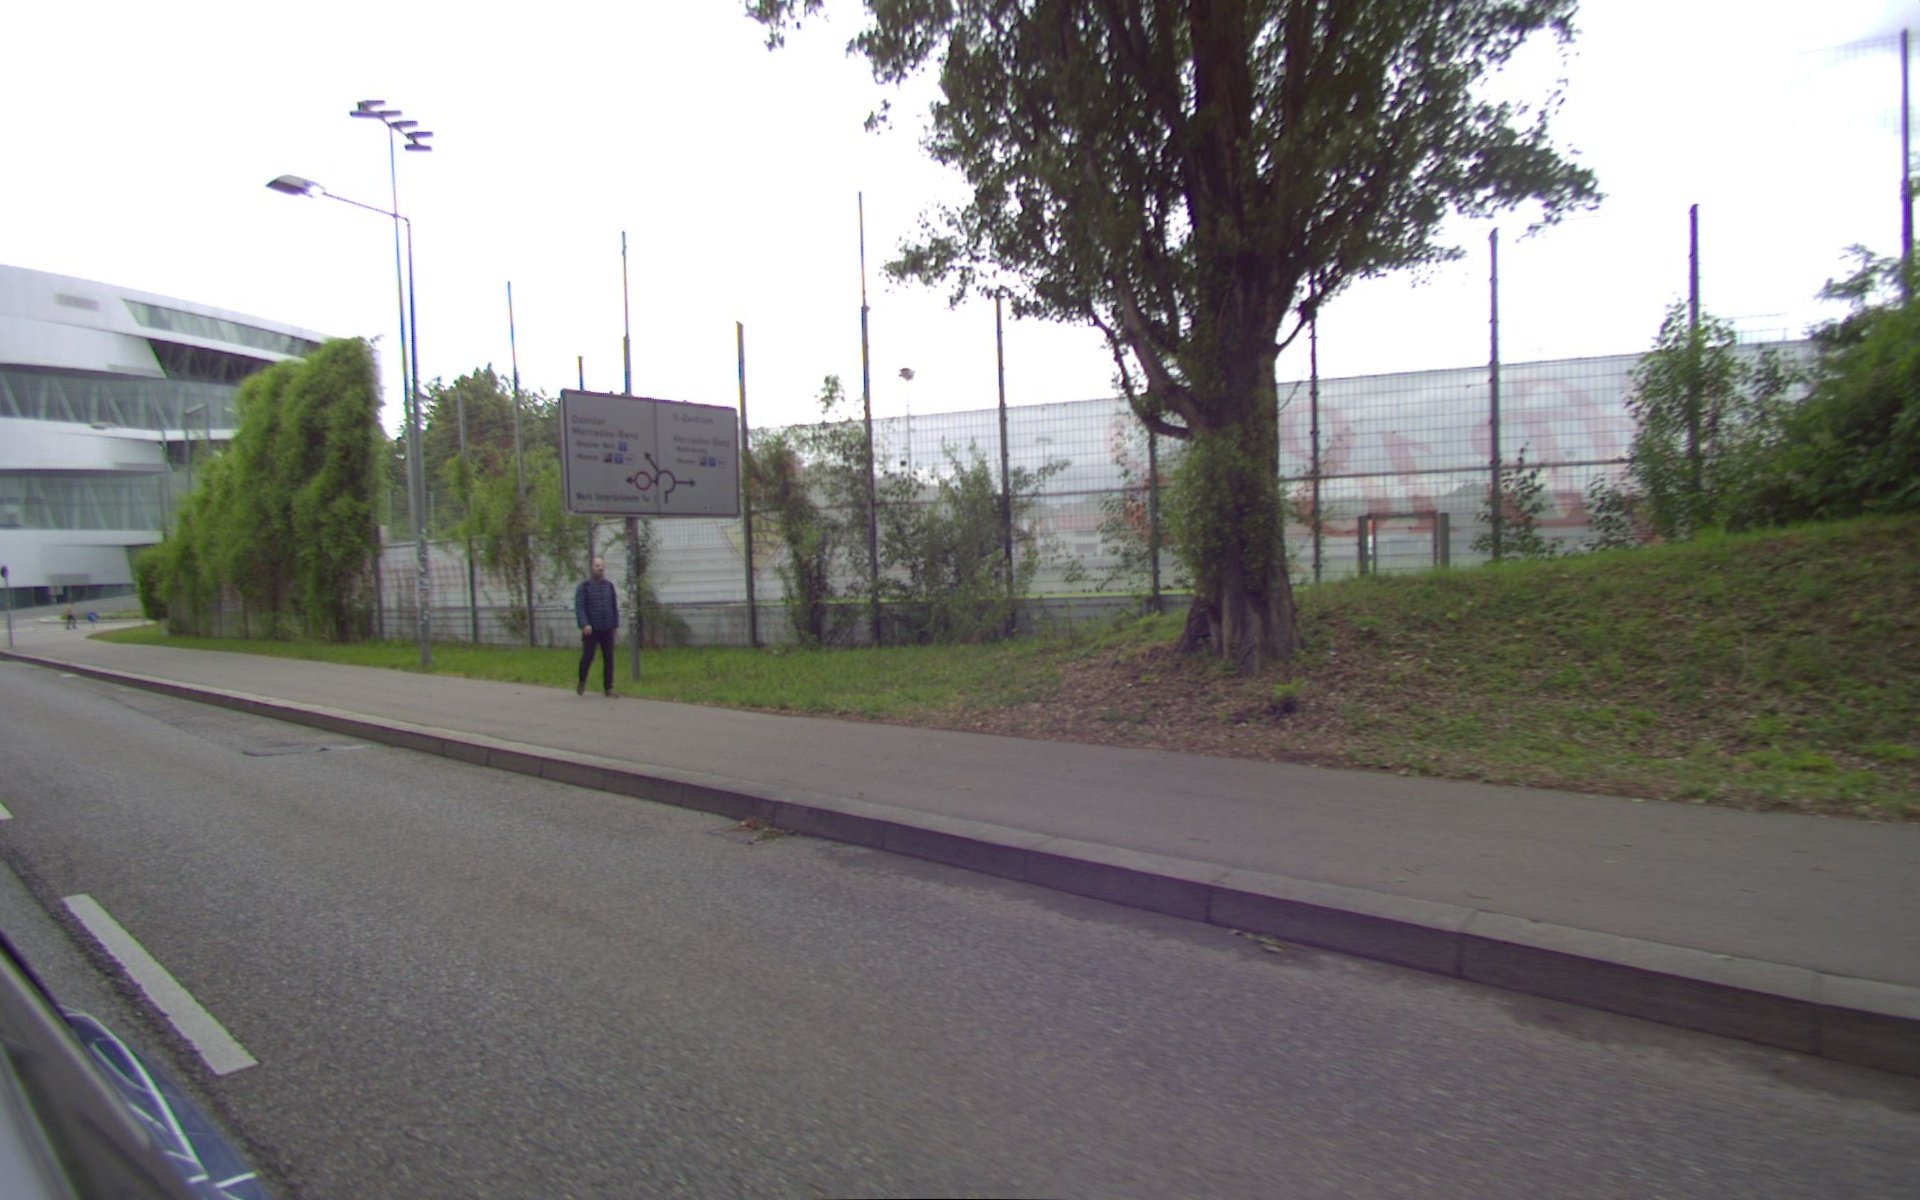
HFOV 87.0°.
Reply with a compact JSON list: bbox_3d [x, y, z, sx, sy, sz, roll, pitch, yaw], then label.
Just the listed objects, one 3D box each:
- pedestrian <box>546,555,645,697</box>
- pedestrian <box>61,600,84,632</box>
[{"bbox_3d":[-4.813,0.330,13.367,0.919,1.794,0.796,-3,0,40],"label":"pedestrian"},{"bbox_3d":[-58.552,1.078,66.776,1.023,2.029,0.786,-3,0,-41],"label":"pedestrian"}]
